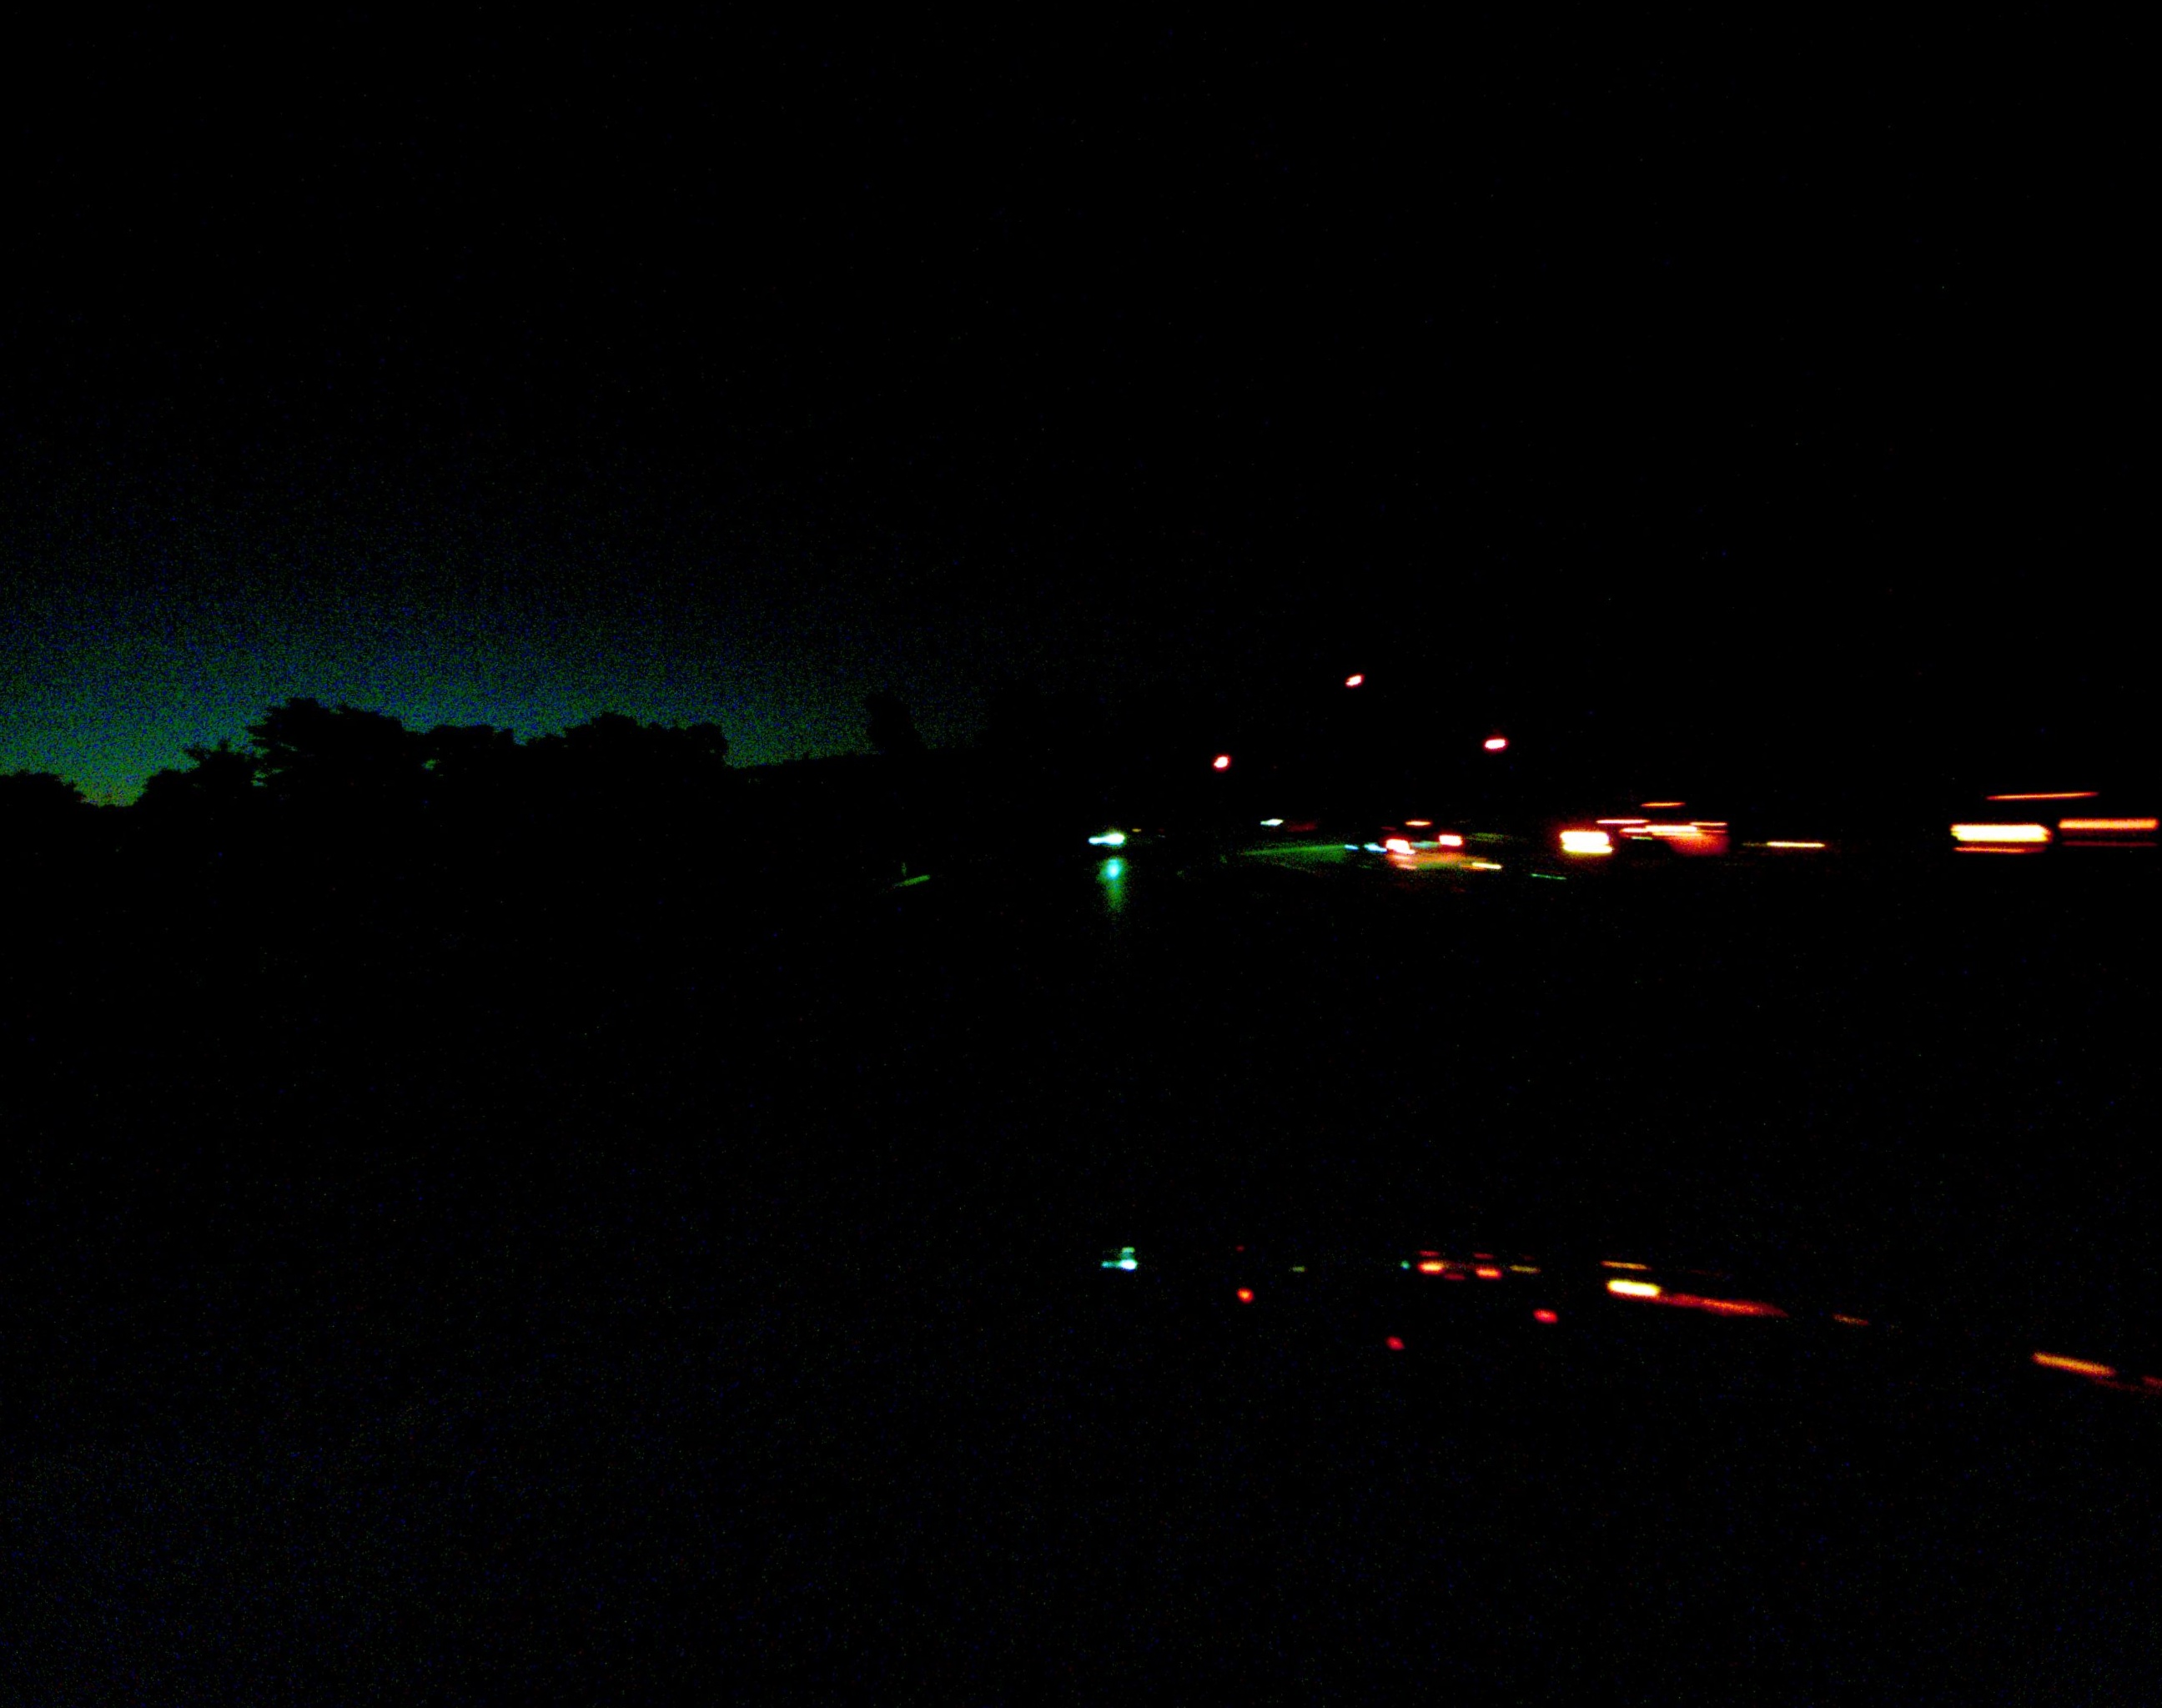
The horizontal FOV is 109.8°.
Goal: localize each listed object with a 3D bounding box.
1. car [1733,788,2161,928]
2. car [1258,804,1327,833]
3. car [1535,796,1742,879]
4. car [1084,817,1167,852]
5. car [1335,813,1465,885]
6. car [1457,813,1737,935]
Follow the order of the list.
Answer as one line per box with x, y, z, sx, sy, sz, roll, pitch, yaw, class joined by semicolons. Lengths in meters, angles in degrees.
11.197;-0.030;10.241;1.687;1.451;3.812;-3;2;4;car
12.434;-2.084;44.755;3.489;1.442;1.657;-4;2;-7;car
12.119;-0.429;16.881;1.758;1.452;3.999;-5;3;4;car
2.229;-0.993;37.479;1.759;1.451;4.199;-3;2;42;car
7.957;-0.221;19.334;1.703;1.467;3.868;-5;4;2;car
7.510;0.204;11.605;1.714;1.436;3.985;-4;1;4;car
